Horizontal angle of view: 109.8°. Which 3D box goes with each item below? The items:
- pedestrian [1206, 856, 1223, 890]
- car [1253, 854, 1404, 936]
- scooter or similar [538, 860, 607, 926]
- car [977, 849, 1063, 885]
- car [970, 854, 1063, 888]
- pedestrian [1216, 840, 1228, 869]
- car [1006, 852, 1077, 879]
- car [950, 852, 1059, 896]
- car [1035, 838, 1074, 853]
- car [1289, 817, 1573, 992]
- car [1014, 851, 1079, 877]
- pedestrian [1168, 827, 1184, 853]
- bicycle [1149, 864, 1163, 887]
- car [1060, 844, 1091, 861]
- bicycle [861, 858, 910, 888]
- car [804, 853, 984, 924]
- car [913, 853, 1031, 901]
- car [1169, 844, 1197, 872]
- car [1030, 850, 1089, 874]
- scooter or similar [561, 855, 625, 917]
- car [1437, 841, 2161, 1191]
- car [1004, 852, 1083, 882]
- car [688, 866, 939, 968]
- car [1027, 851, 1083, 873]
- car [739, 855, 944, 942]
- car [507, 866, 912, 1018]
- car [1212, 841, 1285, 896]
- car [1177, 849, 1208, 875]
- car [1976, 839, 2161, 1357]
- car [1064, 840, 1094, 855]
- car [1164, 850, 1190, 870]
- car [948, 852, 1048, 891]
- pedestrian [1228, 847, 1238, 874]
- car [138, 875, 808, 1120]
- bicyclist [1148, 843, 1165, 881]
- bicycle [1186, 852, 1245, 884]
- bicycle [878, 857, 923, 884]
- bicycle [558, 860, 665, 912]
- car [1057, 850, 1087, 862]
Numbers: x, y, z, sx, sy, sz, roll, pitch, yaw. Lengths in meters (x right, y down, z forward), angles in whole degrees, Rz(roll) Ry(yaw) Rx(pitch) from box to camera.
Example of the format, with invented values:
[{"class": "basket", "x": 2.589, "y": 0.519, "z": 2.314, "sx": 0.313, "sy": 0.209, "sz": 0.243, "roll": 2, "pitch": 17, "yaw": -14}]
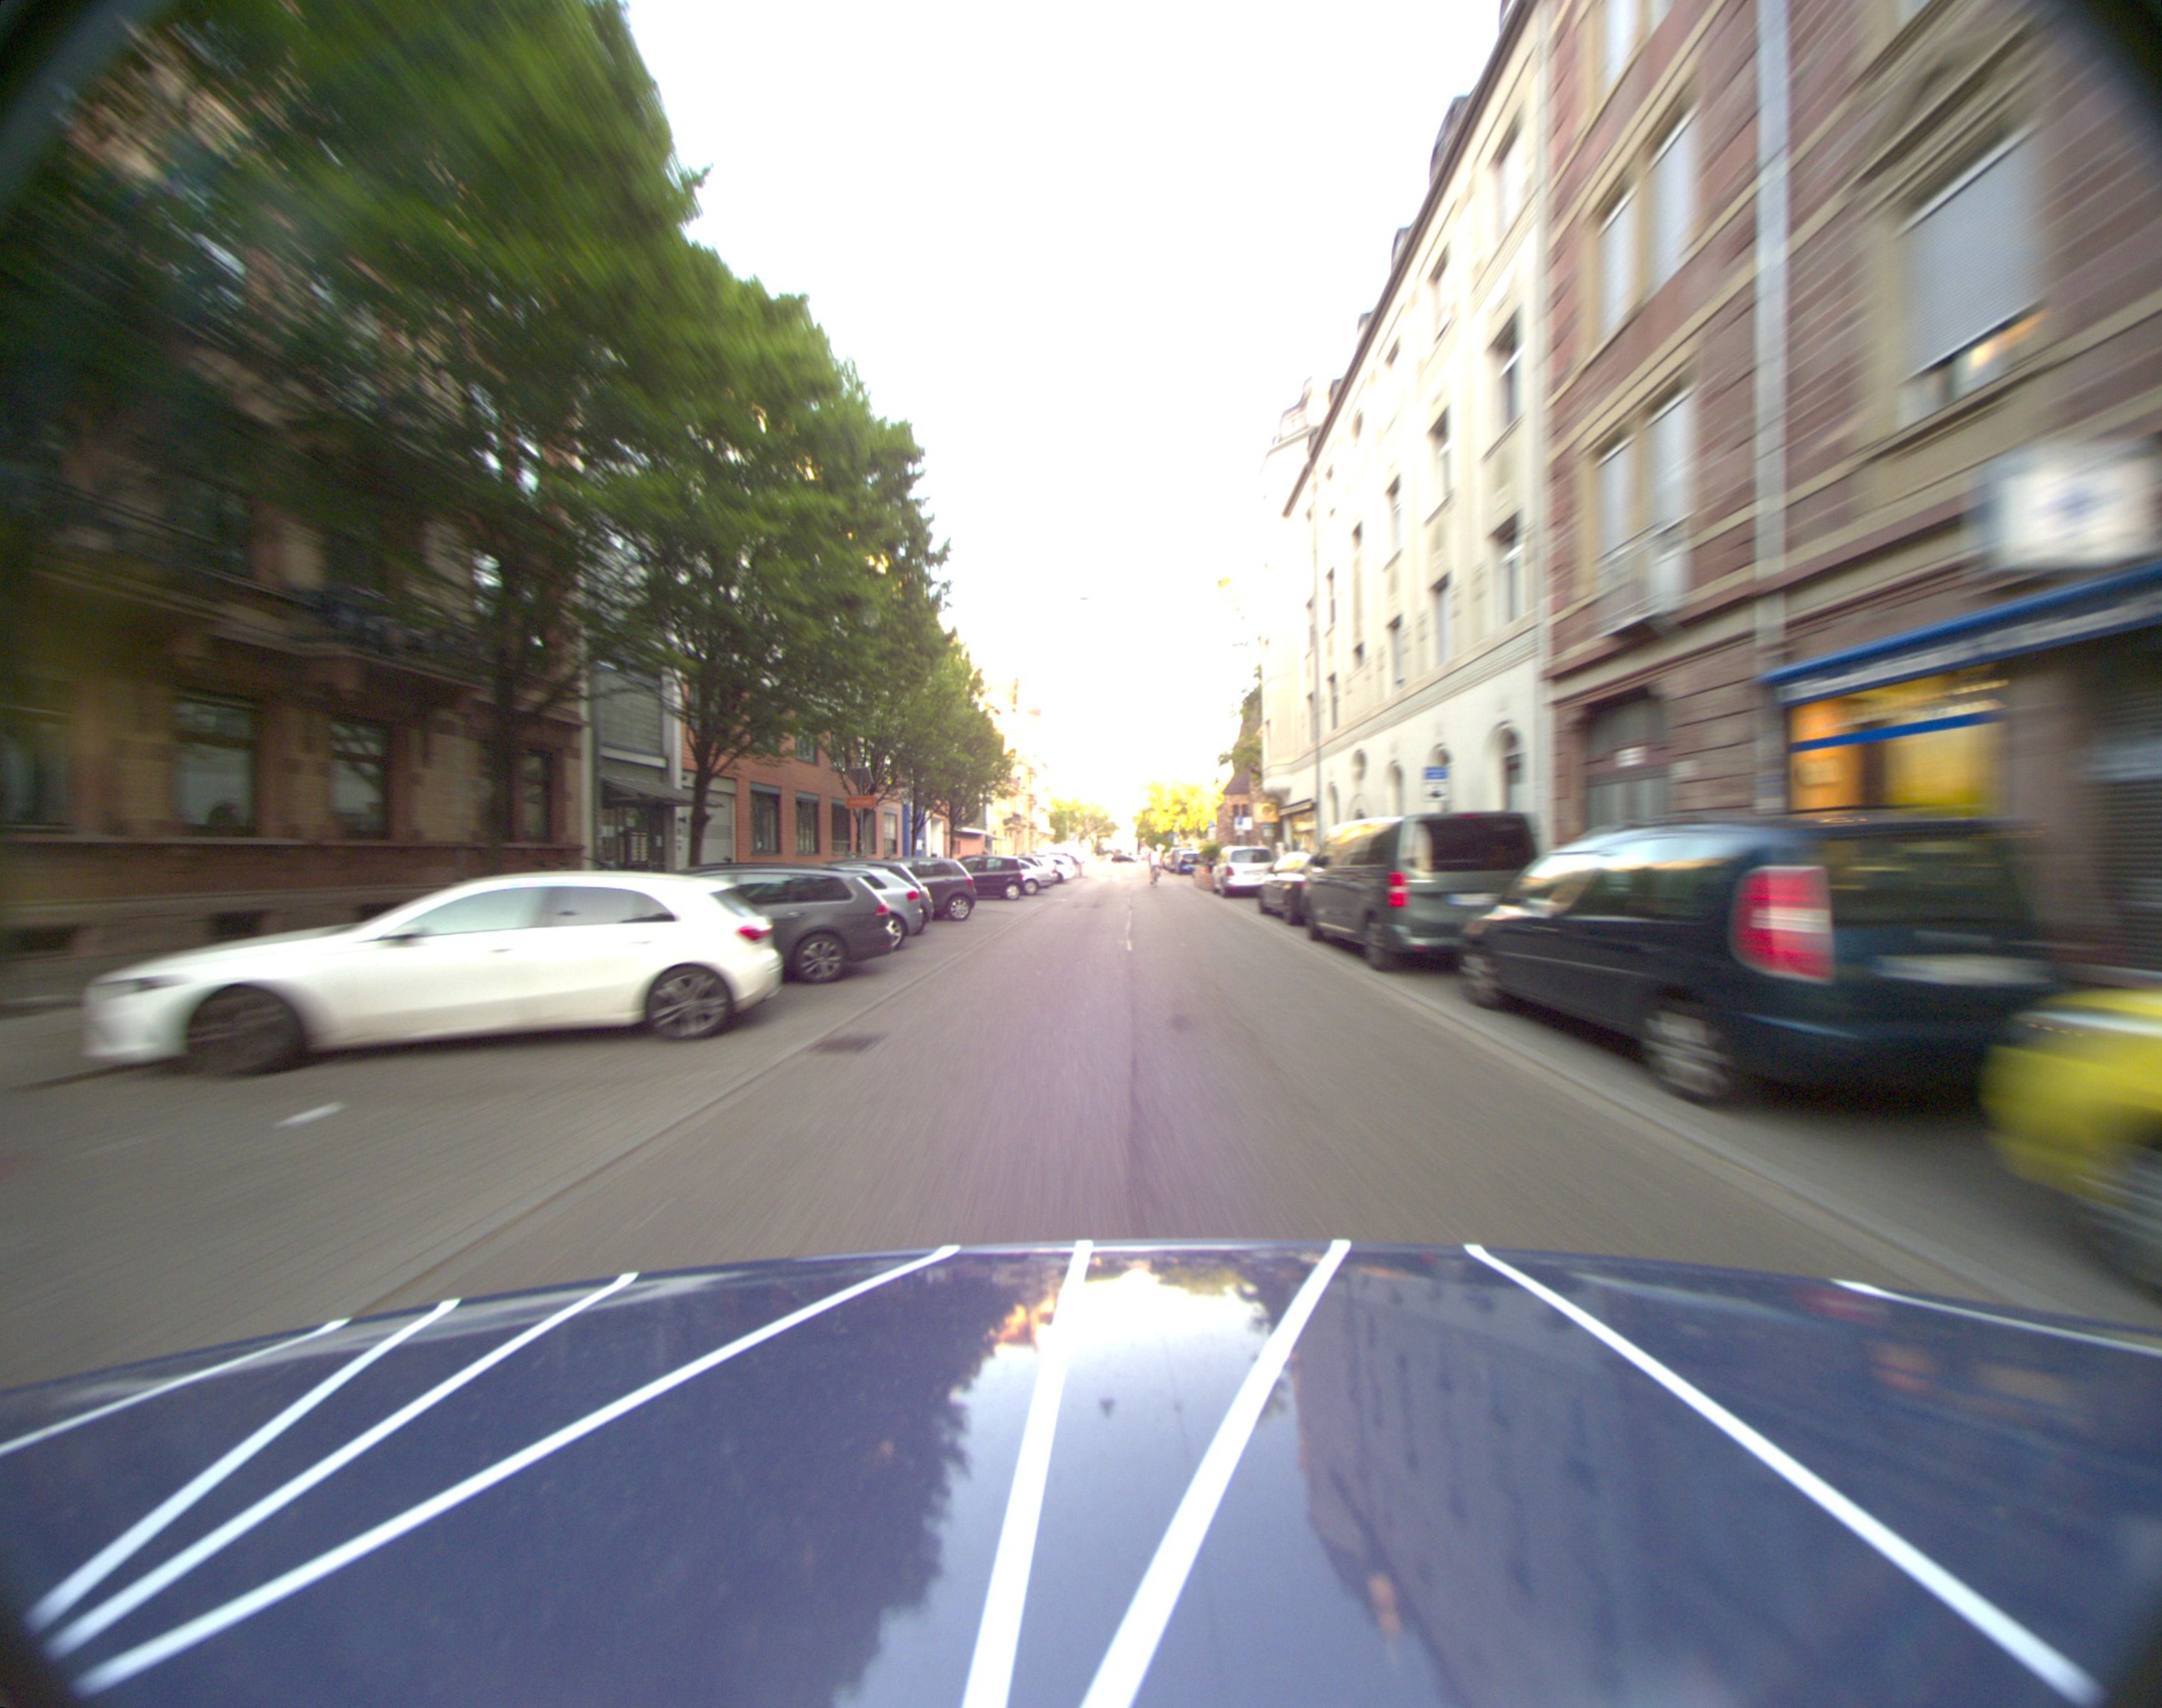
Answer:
[{"class": "pedestrian", "x": 5.274, "y": 0.749, "z": 30.019, "sx": 0.571, "sy": 1.315, "sz": 0.496, "roll": -2, "pitch": 1, "yaw": 3}, {"class": "car", "x": 4.999, "y": 0.744, "z": 16.038, "sx": 1.932, "sy": 1.422, "sz": 4.482, "roll": -1, "pitch": 0, "yaw": 3}, {"class": "scooter or similar", "x": -10.442, "y": 0.775, "z": 15.622, "sx": 0.329, "sy": 1.274, "sz": 1.068, "roll": -1, "pitch": 2, "yaw": 41}, {"class": "car", "x": -3.000, "y": 0.650, "z": 37.410, "sx": 3.840, "sy": 1.639, "sz": 1.674, "roll": 1, "pitch": 1, "yaw": -24}, {"class": "car", "x": -2.930, "y": 0.782, "z": 34.652, "sx": 3.840, "sy": 1.422, "sz": 1.674, "roll": 1, "pitch": 1, "yaw": -26}, {"class": "pedestrian", "x": 8.743, "y": 0.033, "z": 47.179, "sx": 0.566, "sy": 1.723, "sz": 0.562, "roll": -2, "pitch": 1, "yaw": 3}, {"class": "car", "x": -2.371, "y": 0.696, "z": 45.530, "sx": 3.840, "sy": 1.510, "sz": 1.674, "roll": 1, "pitch": 1, "yaw": -25}, {"class": "car", "x": -2.973, "y": 0.778, "z": 29.527, "sx": 3.840, "sy": 1.557, "sz": 1.674, "roll": 1, "pitch": 1, "yaw": -26}, {"class": "car", "x": -2.883, "y": -0.947, "z": 81.996, "sx": 3.840, "sy": 1.510, "sz": 1.674, "roll": 1, "pitch": 1, "yaw": -25}, {"class": "car", "x": 4.473, "y": 0.546, "z": 10.718, "sx": 1.932, "sy": 1.872, "sz": 4.906, "roll": -1, "pitch": 0, "yaw": 3}, {"class": "car", "x": -2.213, "y": 0.650, "z": 48.353, "sx": 3.836, "sy": 1.510, "sz": 1.676, "roll": 2, "pitch": 1, "yaw": -12}, {"class": "pedestrian", "x": 10.160, "y": -1.479, "z": 81.220, "sx": 1.445, "sy": 2.725, "sz": 1.012, "roll": -2, "pitch": 1, "yaw": 3}, {"class": "bicycle", "x": 3.336, "y": 0.957, "z": 33.971, "sx": 0.477, "sy": 0.938, "sz": 1.896, "roll": -2, "pitch": 1, "yaw": 3}, {"class": "car", "x": -0.813, "y": -0.179, "z": 108.169, "sx": 4.201, "sy": 2.280, "sz": 1.673, "roll": 1, "pitch": 2, "yaw": -35}, {"class": "bicycle", "x": -7.776, "y": 0.766, "z": 30.333, "sx": 1.769, "sy": 1.094, "sz": 0.546, "roll": 3, "pitch": 1, "yaw": -3}, {"class": "car", "x": -4.384, "y": 0.781, "z": 17.922, "sx": 3.806, "sy": 1.508, "sz": 1.646, "roll": 1, "pitch": 0, "yaw": -29}, {"class": "car", "x": -3.865, "y": 0.805, "z": 26.834, "sx": 3.838, "sy": 1.557, "sz": 1.675, "roll": 1, "pitch": 1, "yaw": -18}, {"class": "car", "x": 7.480, "y": 0.268, "z": 55.978, "sx": 1.785, "sy": 1.860, "sz": 4.458, "roll": -2, "pitch": 1, "yaw": 5}, {"class": "car", "x": -1.514, "y": 0.556, "z": 53.326, "sx": 3.836, "sy": 1.510, "sz": 1.676, "roll": 2, "pitch": 1, "yaw": -12}, {"class": "scooter or similar", "x": -10.567, "y": 0.679, "z": 16.484, "sx": 0.329, "sy": 1.274, "sz": 1.068, "roll": -1, "pitch": 1, "yaw": 33}, {"class": "car", "x": 4.328, "y": 0.744, "z": 5.492, "sx": 1.931, "sy": 1.587, "sz": 3.971, "roll": -1, "pitch": 0, "yaw": 5}, {"class": "car", "x": -1.990, "y": 0.694, "z": 40.489, "sx": 3.841, "sy": 1.510, "sz": 1.673, "roll": 1, "pitch": 1, "yaw": -29}, {"class": "car", "x": -4.387, "y": 0.939, "z": 12.473, "sx": 3.638, "sy": 1.412, "sz": 1.827, "roll": 1, "pitch": 0, "yaw": -28}, {"class": "car", "x": -1.954, "y": 0.577, "z": 56.339, "sx": 3.836, "sy": 1.510, "sz": 1.676, "roll": 2, "pitch": 1, "yaw": -12}, {"class": "car", "x": -4.692, "y": 0.823, "z": 14.877, "sx": 3.637, "sy": 1.508, "sz": 1.621, "roll": 1, "pitch": 0, "yaw": -24}, {"class": "car", "x": -4.445, "y": 0.928, "z": 9.484, "sx": 4.178, "sy": 1.480, "sz": 1.826, "roll": 1, "pitch": 0, "yaw": -32}, {"class": "car", "x": 5.453, "y": 0.435, "z": 25.121, "sx": 1.730, "sy": 1.638, "sz": 3.917, "roll": -2, "pitch": 0, "yaw": 4}, {"class": "car", "x": 7.456, "y": 0.500, "z": 50.992, "sx": 1.785, "sy": 1.537, "sz": 4.001, "roll": -2, "pitch": 1, "yaw": 5}, {"class": "car", "x": 3.889, "y": 0.712, "z": 0.762, "sx": 1.709, "sy": 1.521, "sz": 3.794, "roll": -1, "pitch": 0, "yaw": 5}, {"class": "car", "x": -0.304, "y": -1.022, "z": 116.585, "sx": 4.201, "sy": 2.246, "sz": 1.673, "roll": 1, "pitch": 2, "yaw": -31}, {"class": "car", "x": 7.972, "y": 0.473, "z": 63.296, "sx": 1.785, "sy": 1.537, "sz": 4.000, "roll": -2, "pitch": 1, "yaw": 3}, {"class": "car", "x": -3.499, "y": 0.739, "z": 32.197, "sx": 3.840, "sy": 1.557, "sz": 1.674, "roll": 1, "pitch": 1, "yaw": -26}, {"class": "pedestrian", "x": 9.441, "y": 0.402, "z": 47.179, "sx": 0.508, "sy": 1.597, "sz": 0.562, "roll": -2, "pitch": 1, "yaw": 3}, {"class": "car", "x": -4.602, "y": 0.959, "z": 6.502, "sx": 4.002, "sy": 1.480, "sz": 1.680, "roll": 1, "pitch": 0, "yaw": -30}, {"class": "bicyclist", "x": 3.374, "y": 0.351, "z": 33.981, "sx": 0.624, "sy": 1.682, "sz": 1.004, "roll": -2, "pitch": 1, "yaw": 3}, {"class": "bicycle", "x": 6.281, "y": 0.662, "z": 35.536, "sx": 2.618, "sy": 1.390, "sz": 0.602, "roll": -2, "pitch": 1, "yaw": 17}, {"class": "bicycle", "x": -7.914, "y": 0.714, "z": 33.353, "sx": 1.769, "sy": 1.094, "sz": 0.546, "roll": 3, "pitch": 1, "yaw": -3}, {"class": "bicycle", "x": -10.900, "y": 0.747, "z": 17.693, "sx": 2.024, "sy": 1.158, "sz": 0.579, "roll": 2, "pitch": 1, "yaw": -14}, {"class": "car", "x": -1.265, "y": 0.264, "z": 105.071, "sx": 3.841, "sy": 1.510, "sz": 1.673, "roll": 1, "pitch": 1, "yaw": -31}]
